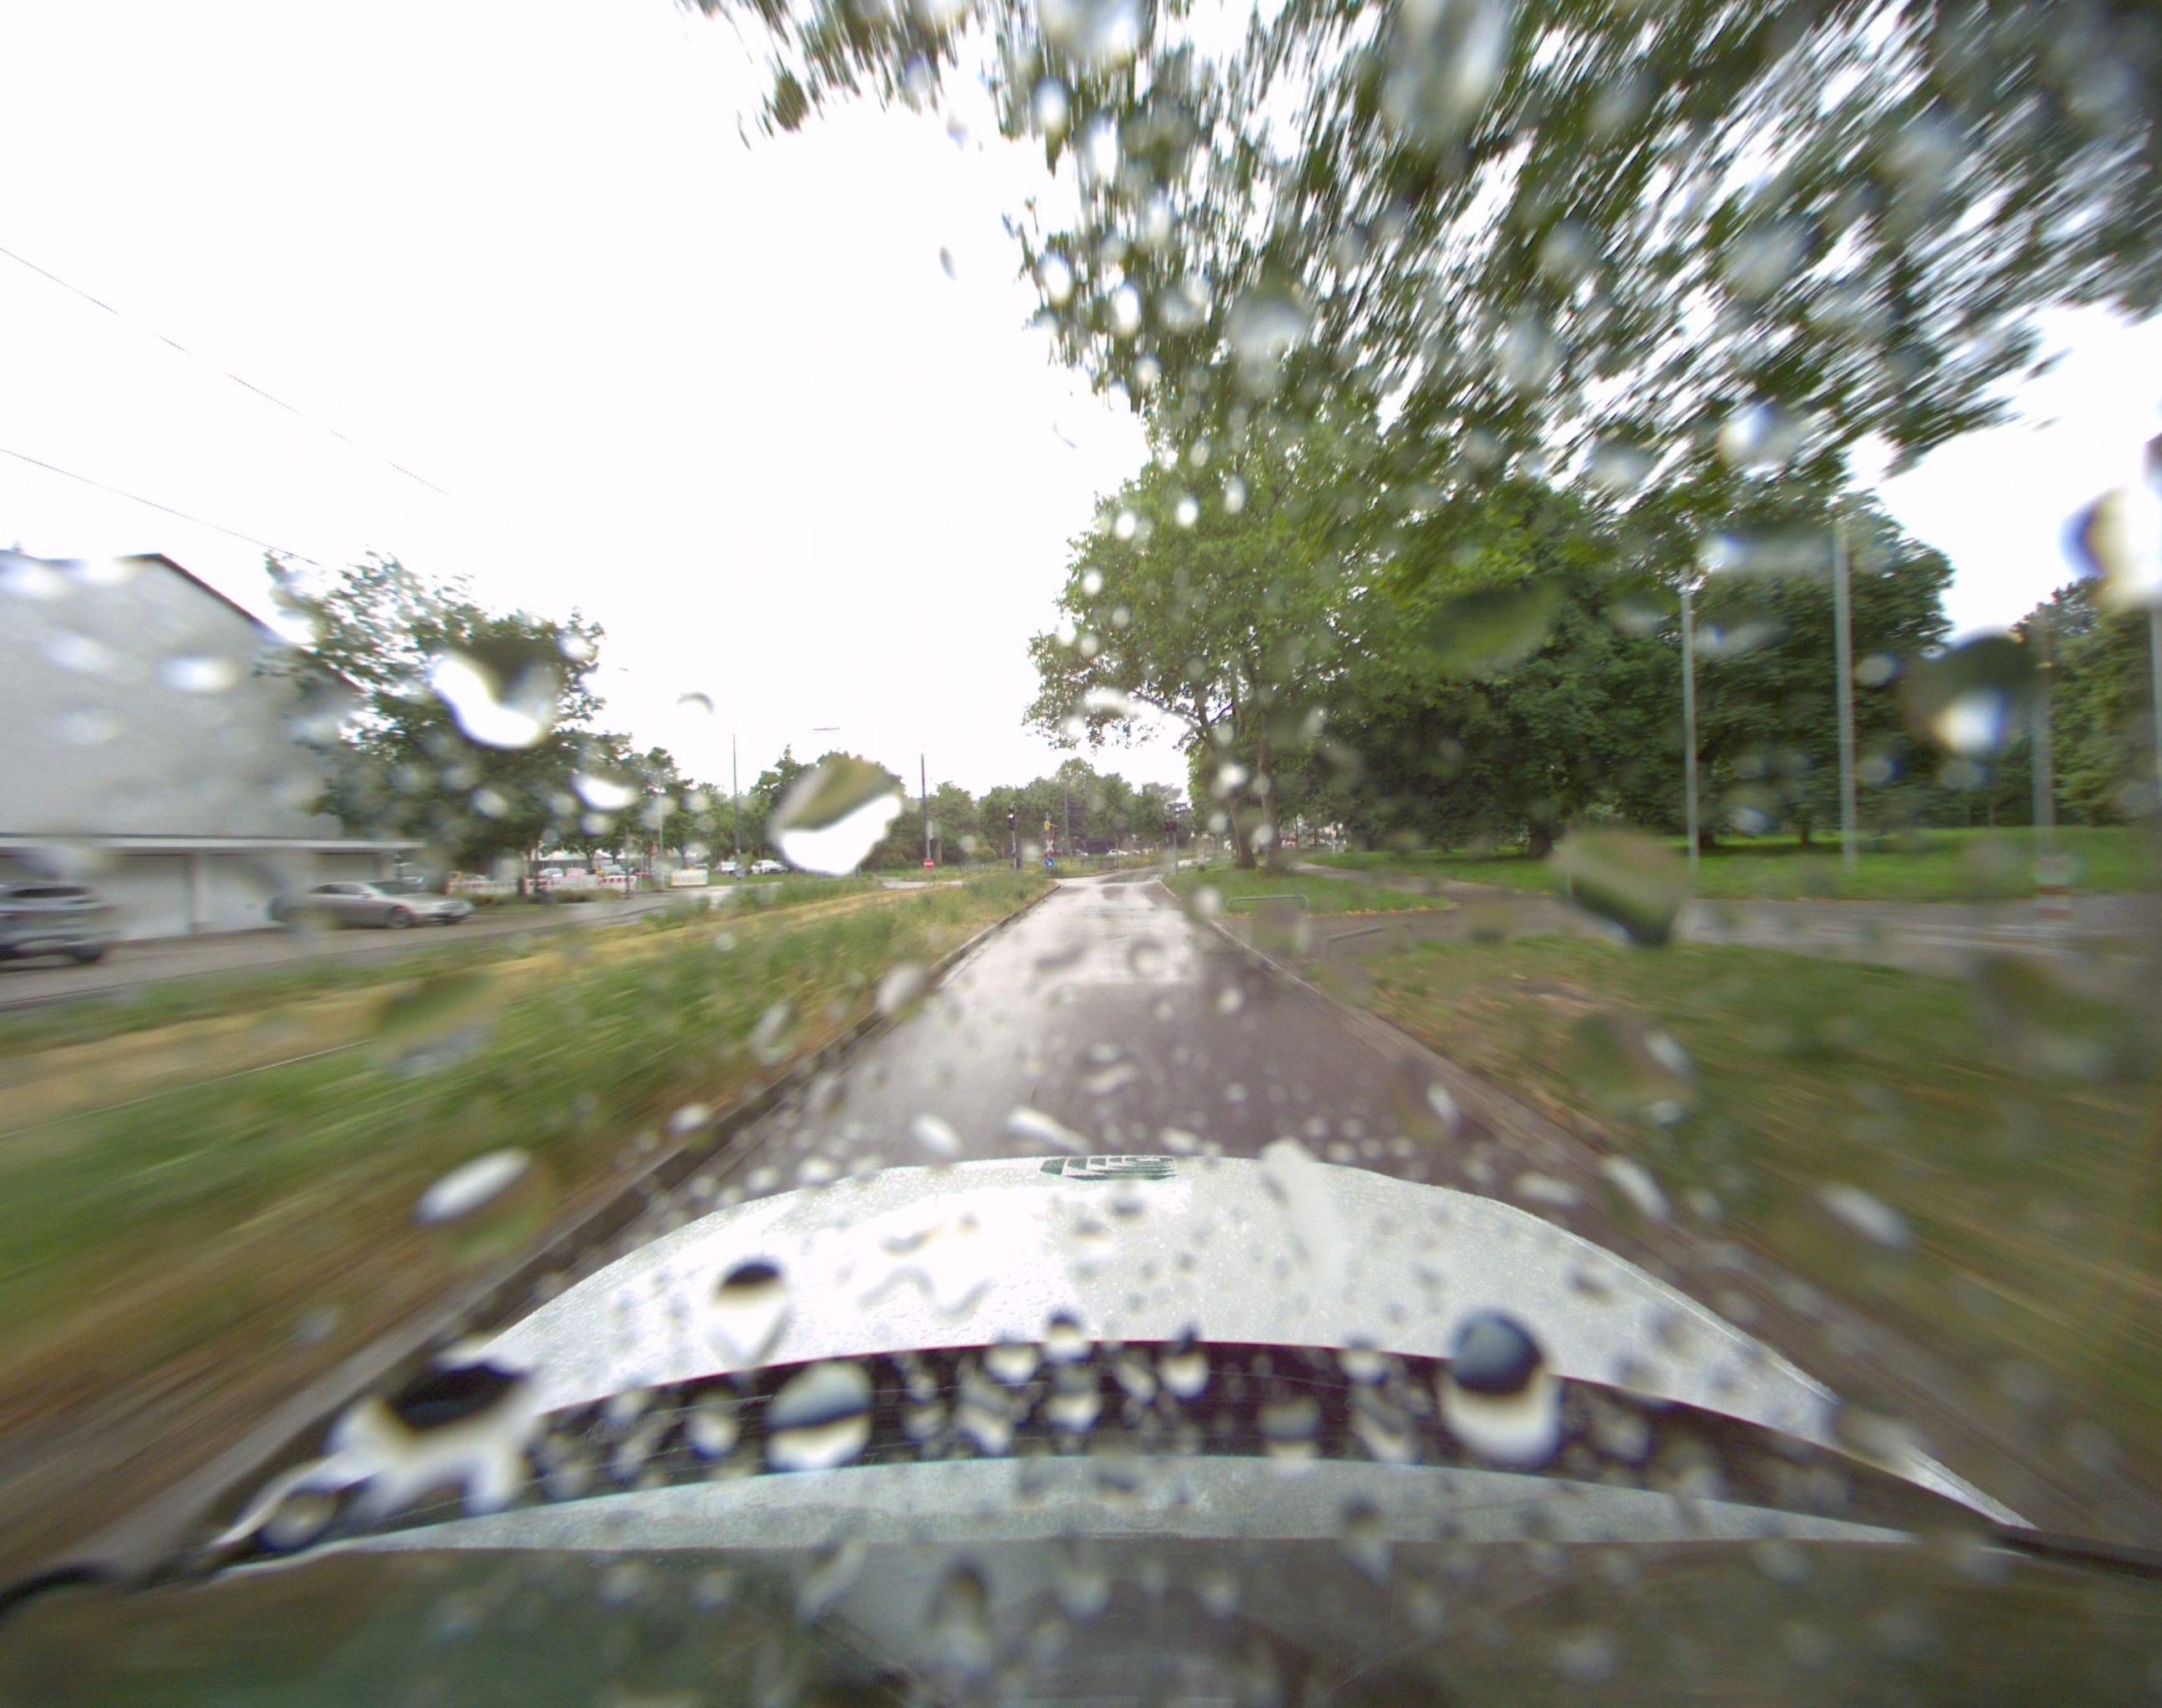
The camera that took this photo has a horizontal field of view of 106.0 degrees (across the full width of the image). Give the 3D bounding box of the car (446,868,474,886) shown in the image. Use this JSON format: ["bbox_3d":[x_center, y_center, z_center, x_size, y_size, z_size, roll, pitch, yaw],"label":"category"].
[{"bbox_3d":[-52.137,1.941,68.373,1.674,1.325,3.698,-3,0,-40],"label":"car"}]

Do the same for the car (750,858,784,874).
[{"bbox_3d":[-27.887,1.092,72.344,1.674,1.249,3.698,-3,0,-40],"label":"car"}]

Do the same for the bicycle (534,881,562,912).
[{"bbox_3d":[-18.900,1.487,28.886,0.482,1.019,1.828,1,0,-23],"label":"bicycle"}]

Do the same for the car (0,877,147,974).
[{"bbox_3d":[-20.210,1.322,14.890,3.974,1.576,1.893,-2,0,0],"label":"car"}]

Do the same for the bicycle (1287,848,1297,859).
[{"bbox_3d":[14.824,-0.045,57.216,0.482,0.708,1.466,-2,1,23],"label":"bicycle"}]

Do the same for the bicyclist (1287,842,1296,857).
[{"bbox_3d":[14.797,-0.326,57.184,0.482,1.038,0.595,-2,1,23],"label":"bicyclist"}]

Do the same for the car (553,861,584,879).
[{"bbox_3d":[-39.676,1.273,62.972,1.673,1.249,3.700,-3,0,-37],"label":"car"}]

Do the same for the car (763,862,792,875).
[{"bbox_3d":[-31.440,1.503,84.243,1.674,1.249,3.698,-3,0,-40],"label":"car"}]

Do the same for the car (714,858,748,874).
[{"bbox_3d":[-30.075,1.064,69.976,1.674,1.249,3.698,-3,0,-40],"label":"car"}]

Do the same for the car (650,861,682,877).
[{"bbox_3d":[-34.555,1.256,67.792,1.673,1.249,3.700,-3,0,-37],"label":"car"}]

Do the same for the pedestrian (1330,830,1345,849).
[{"bbox_3d":[23.620,-1.360,75.021,0.855,1.694,1.027,-3,0,-23],"label":"pedestrian"}]

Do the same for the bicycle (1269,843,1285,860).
[{"bbox_3d":[13.885,-0.197,57.711,0.705,1.142,1.983,-2,1,24],"label":"bicycle"}]

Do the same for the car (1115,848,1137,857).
[{"bbox_3d":[8.447,-0.368,154.000,3.787,1.499,1.660,-3,0,18],"label":"car"}]

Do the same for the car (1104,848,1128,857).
[{"bbox_3d":[6.534,-0.201,150.794,4.032,1.499,1.660,-3,0,18],"label":"car"}]

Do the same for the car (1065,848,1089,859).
[{"bbox_3d":[-0.705,-0.041,153.475,4.174,1.796,1.661,-2,1,20],"label":"car"}]

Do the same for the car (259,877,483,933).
[{"bbox_3d":[-19.963,1.417,23.034,4.708,1.365,1.849,-1,0,1],"label":"car"}]

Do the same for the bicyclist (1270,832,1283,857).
[{"bbox_3d":[13.865,-0.658,57.703,0.705,1.721,0.963,-2,1,24],"label":"bicyclist"}]
